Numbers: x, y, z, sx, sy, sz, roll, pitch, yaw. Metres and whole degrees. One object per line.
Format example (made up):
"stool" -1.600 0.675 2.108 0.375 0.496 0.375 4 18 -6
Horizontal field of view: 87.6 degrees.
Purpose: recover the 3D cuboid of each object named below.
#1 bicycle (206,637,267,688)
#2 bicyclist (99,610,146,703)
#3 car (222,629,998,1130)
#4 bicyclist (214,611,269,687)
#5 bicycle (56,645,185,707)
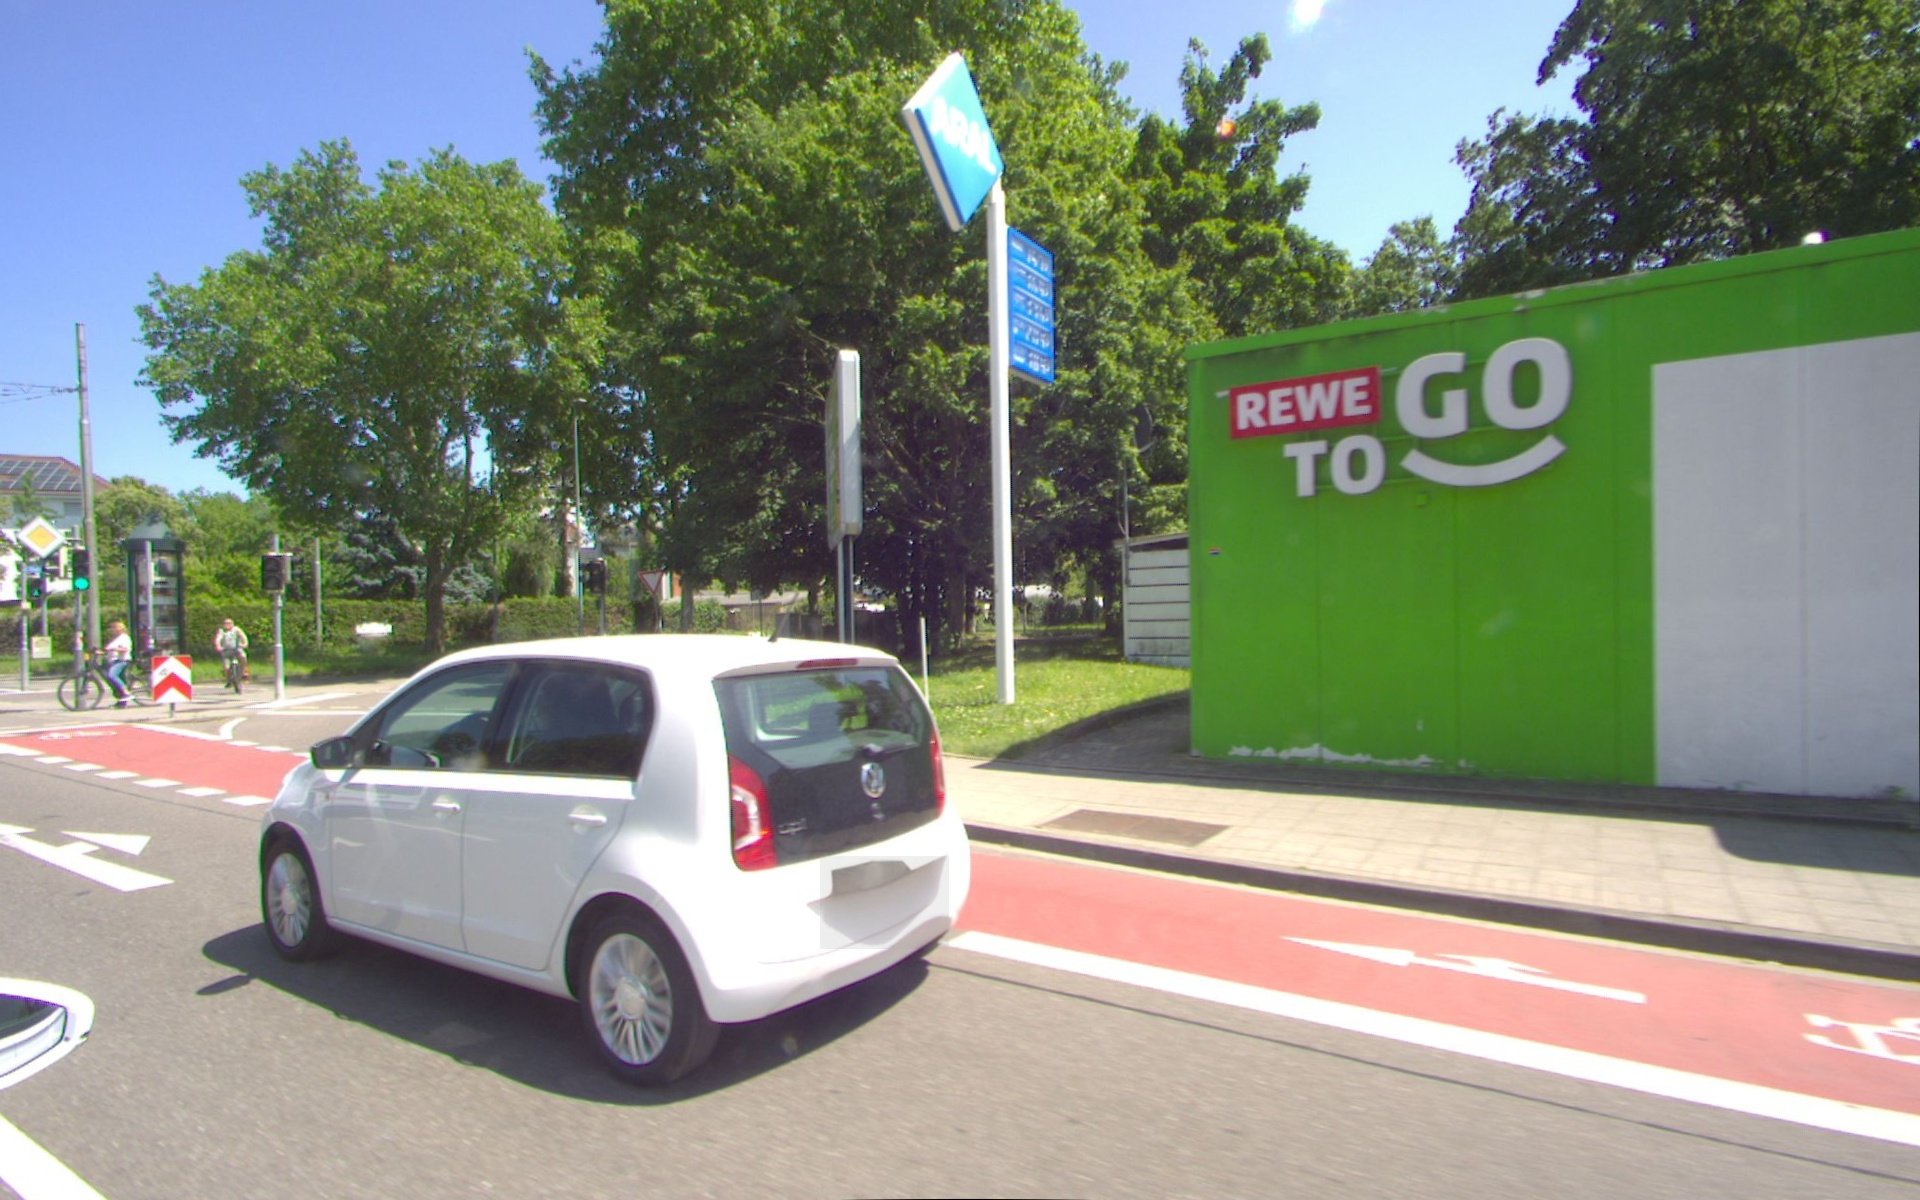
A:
"bicycle" -17.731 1.507 24.586 0.881 1.174 1.948 -1 -1 -27
"bicyclist" -16.765 1.117 20.045 0.759 1.810 0.574 -1 -2 40
"car" -1.687 0.875 4.562 3.387 1.466 1.606 -1 -2 33
"bicyclist" -17.661 1.192 24.630 0.961 1.811 0.723 -1 0 -27
"bicycle" -16.733 1.485 19.995 0.884 1.139 1.859 -2 -2 40
